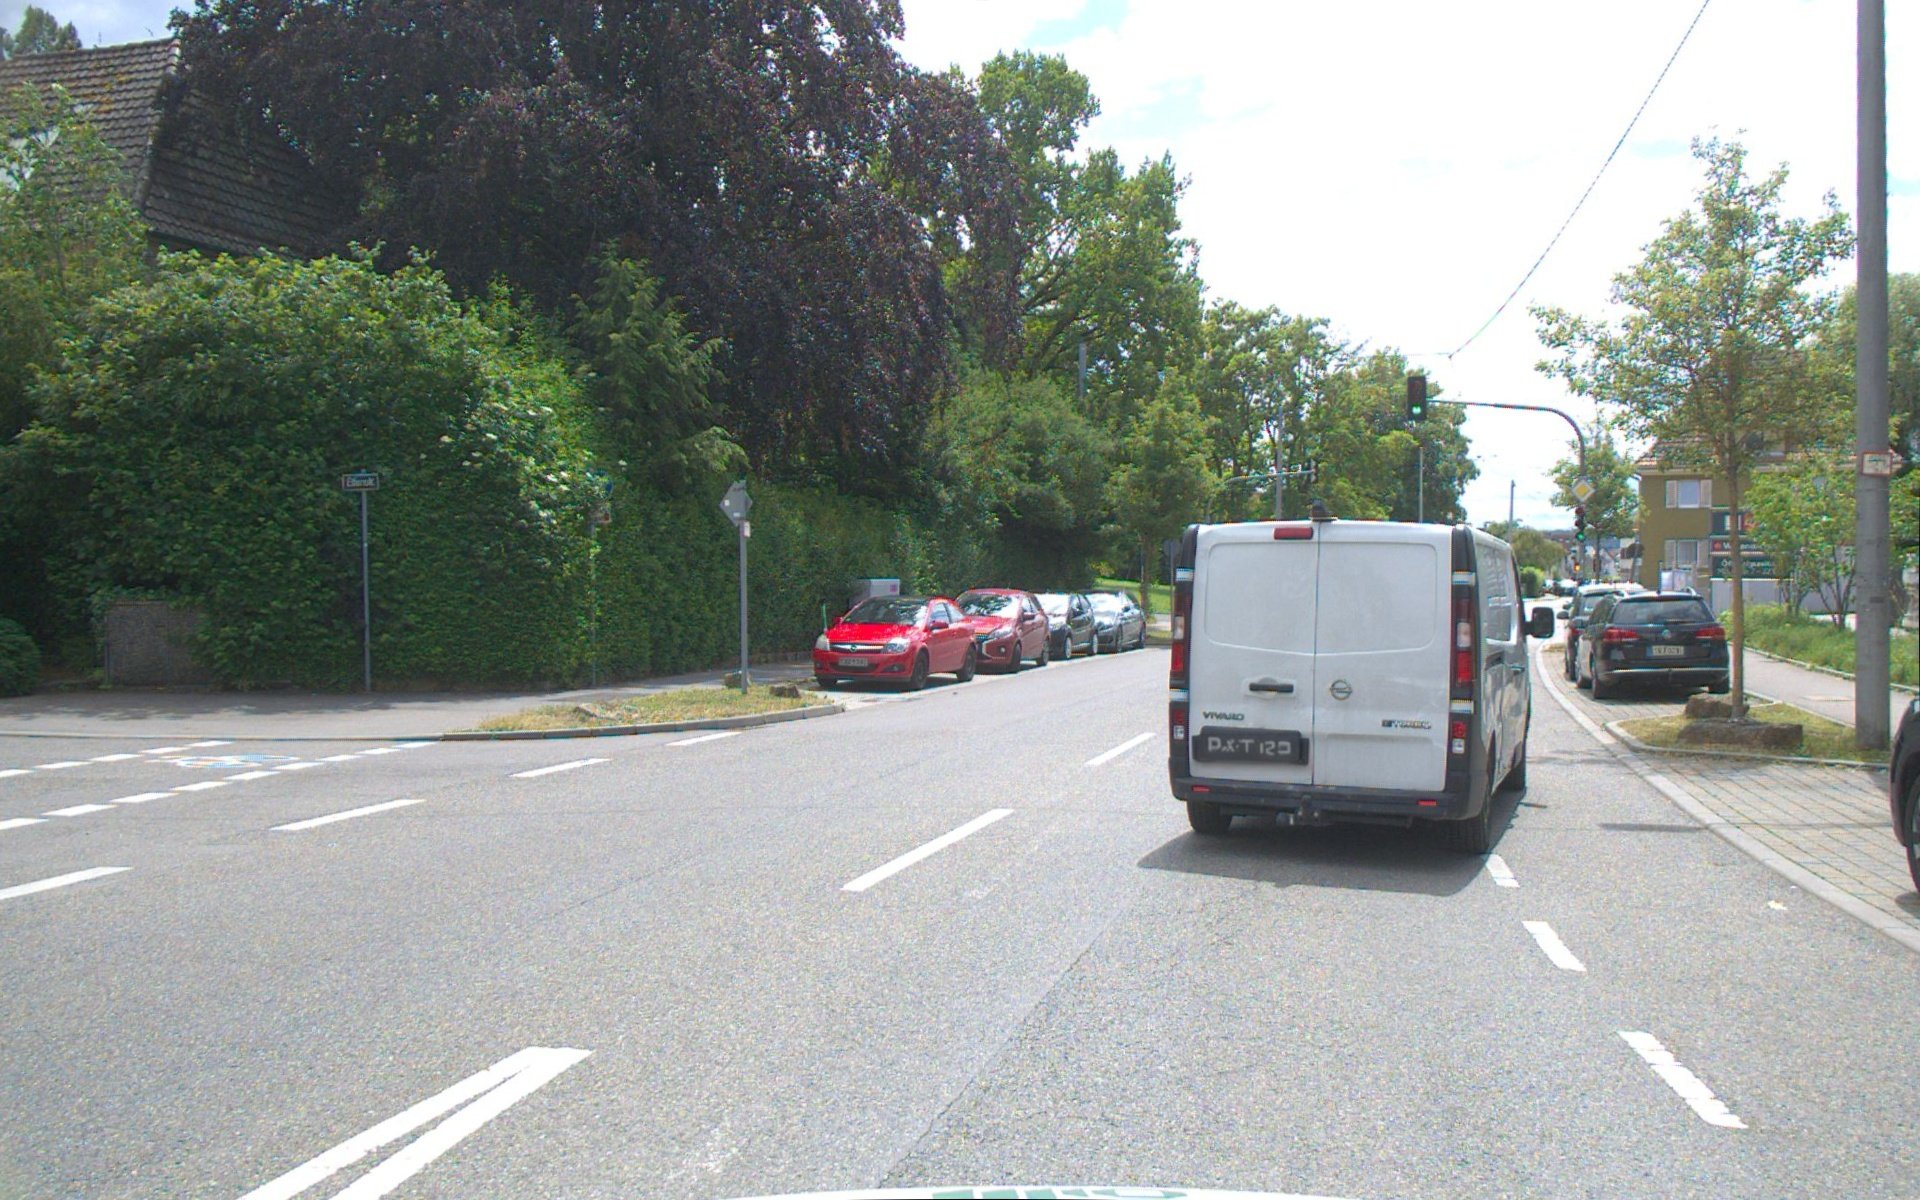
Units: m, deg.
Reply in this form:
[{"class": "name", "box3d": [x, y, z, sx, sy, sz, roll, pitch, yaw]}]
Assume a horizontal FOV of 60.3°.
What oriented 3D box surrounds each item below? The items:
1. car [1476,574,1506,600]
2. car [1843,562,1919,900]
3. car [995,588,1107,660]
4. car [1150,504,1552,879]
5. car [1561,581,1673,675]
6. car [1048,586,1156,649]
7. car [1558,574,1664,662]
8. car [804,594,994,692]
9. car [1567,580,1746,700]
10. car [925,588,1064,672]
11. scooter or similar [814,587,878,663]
[{"class": "car", "box3d": [34.898, -0.865, 108.644, 1.795, 1.645, 4.154, -1, 1, 18]}, {"class": "car", "box3d": [5.380, 0.625, 6.402, 1.839, 1.650, 4.850, -2, 0, 8]}, {"class": "car", "box3d": [2.064, 0.493, 36.552, 1.562, 1.476, 3.597, 1, 1, 19]}, {"class": "car", "box3d": [2.943, 0.455, 11.497, 1.900, 1.994, 4.832, 2, 1, 23]}, {"class": "car", "box3d": [11.482, 0.460, 29.083, 1.535, 1.519, 4.002, -1, 0, 18]}, {"class": "car", "box3d": [3.551, 0.384, 40.599, 1.659, 1.389, 4.689, 2, 1, 17]}, {"class": "car", "box3d": [13.450, 0.345, 34.359, 1.700, 1.644, 4.389, -3, -1, 18]}, {"class": "car", "box3d": [-0.878, 0.625, 26.803, 1.626, 1.402, 4.568, 1, 1, 18]}, {"class": "car", "box3d": [10.074, 0.523, 24.253, 1.727, 1.503, 4.939, -3, 0, 15]}, {"class": "car", "box3d": [0.737, 0.519, 31.860, 1.615, 1.476, 4.107, 1, 1, 17]}, {"class": "scooter or similar", "box3d": [-2.222, 0.467, 32.427, 0.656, 1.437, 1.650, 1, 1, 19]}]
